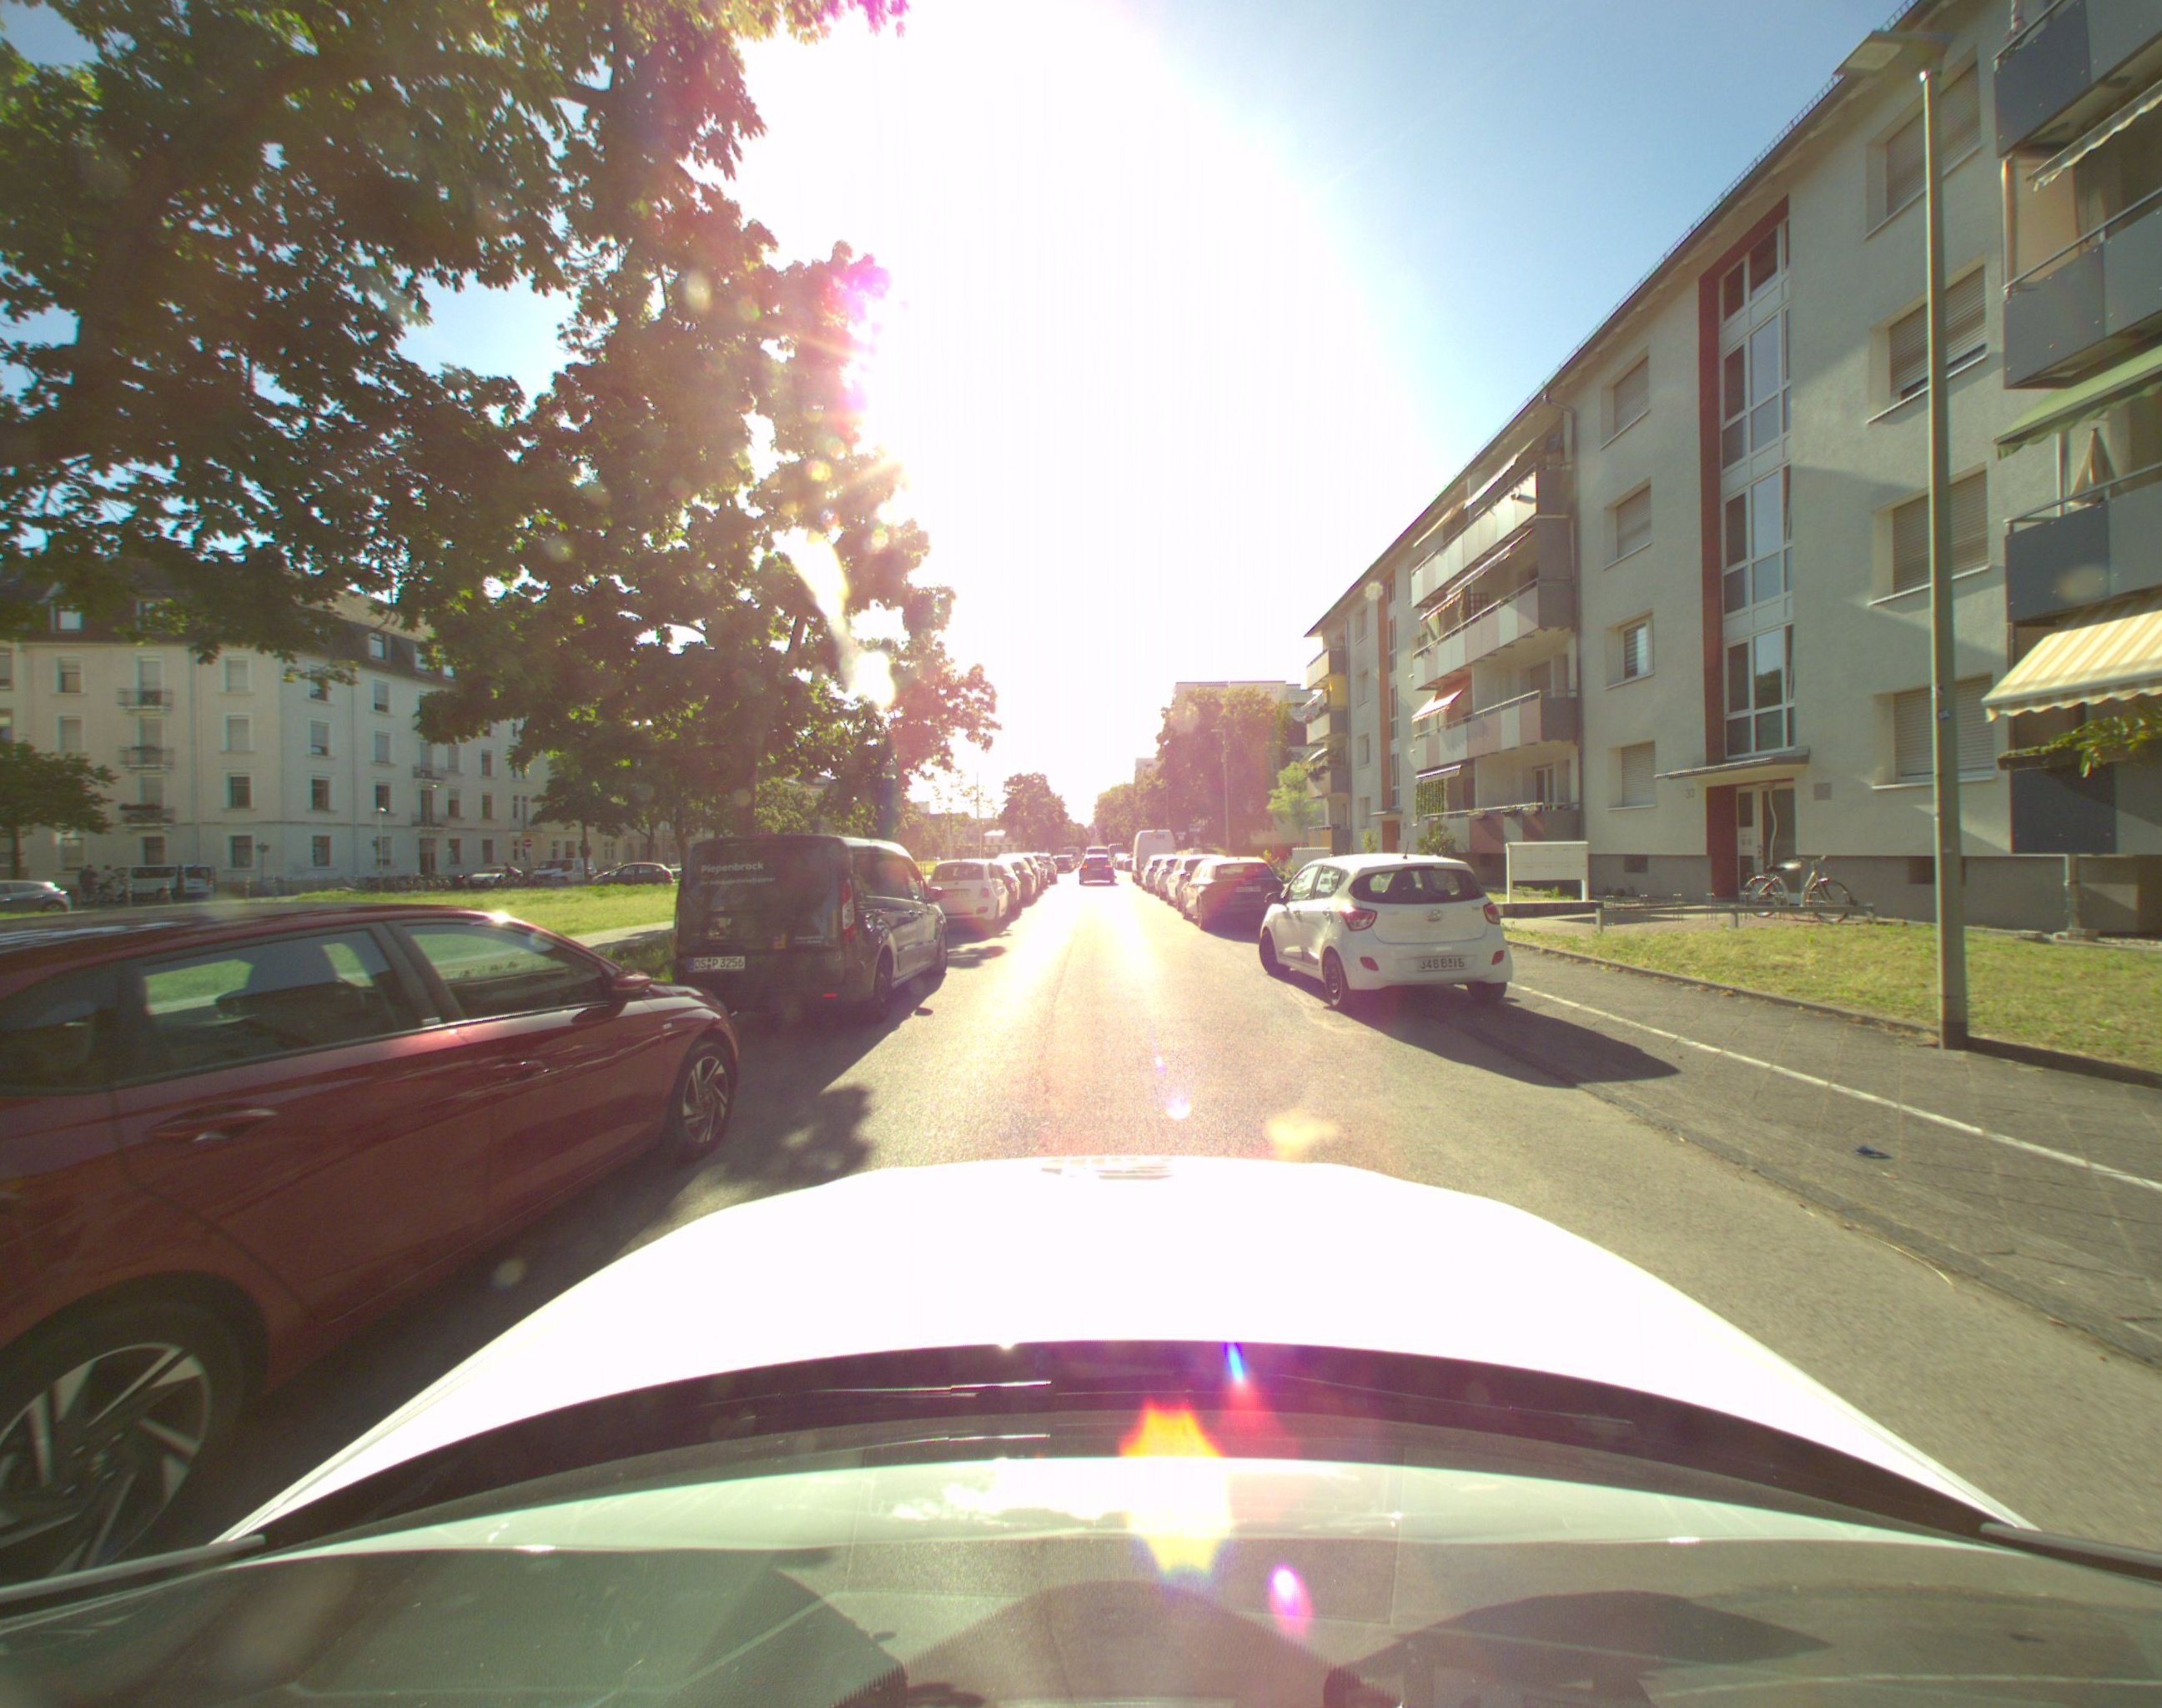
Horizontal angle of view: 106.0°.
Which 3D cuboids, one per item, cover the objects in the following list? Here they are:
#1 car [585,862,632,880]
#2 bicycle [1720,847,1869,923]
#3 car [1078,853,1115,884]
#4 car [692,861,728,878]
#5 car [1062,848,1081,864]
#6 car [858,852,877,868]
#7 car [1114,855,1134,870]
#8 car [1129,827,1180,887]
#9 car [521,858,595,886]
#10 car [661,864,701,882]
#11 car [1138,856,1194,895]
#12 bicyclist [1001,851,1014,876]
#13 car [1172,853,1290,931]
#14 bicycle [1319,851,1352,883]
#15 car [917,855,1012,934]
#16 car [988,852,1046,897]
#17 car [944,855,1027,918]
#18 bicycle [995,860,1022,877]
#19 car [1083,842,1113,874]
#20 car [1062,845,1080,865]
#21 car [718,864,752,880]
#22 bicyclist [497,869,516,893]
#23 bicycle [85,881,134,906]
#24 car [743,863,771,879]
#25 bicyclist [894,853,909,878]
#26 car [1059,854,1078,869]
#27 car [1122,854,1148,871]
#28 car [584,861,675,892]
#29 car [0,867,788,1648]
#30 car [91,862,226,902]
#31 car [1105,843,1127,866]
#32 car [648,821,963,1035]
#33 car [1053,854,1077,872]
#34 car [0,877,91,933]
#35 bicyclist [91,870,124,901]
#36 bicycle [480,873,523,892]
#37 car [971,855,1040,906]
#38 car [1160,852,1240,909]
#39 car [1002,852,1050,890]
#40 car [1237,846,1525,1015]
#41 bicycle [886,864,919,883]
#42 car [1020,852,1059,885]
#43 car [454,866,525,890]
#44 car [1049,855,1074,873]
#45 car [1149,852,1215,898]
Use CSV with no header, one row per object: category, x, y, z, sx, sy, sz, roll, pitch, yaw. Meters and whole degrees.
car,-36.726,1.322,63.371,1.689,1.279,3.524,-1,0,-2
bicycle,11.105,0.446,12.787,0.521,1.071,2.009,-3,0,0
car,0.824,0.699,41.219,1.772,1.531,4.002,0,0,2
car,-36.443,1.540,80.089,1.627,1.549,4.352,-1,0,-2
car,-1.159,0.223,98.288,2.091,1.942,4.127,-1,0,1
car,-36.352,1.009,138.632,1.910,2.744,5.621,-1,0,-2
car,4.034,0.771,77.231,1.773,1.371,4.128,-1,0,2
car,3.627,0.125,41.462,2.134,2.713,6.845,-3,0,2
car,-37.140,1.228,57.994,2.076,1.872,5.095,-1,0,-2
car,-36.682,1.701,74.741,1.689,1.526,4.078,-1,0,-2
car,3.409,0.829,33.489,1.843,1.466,4.200,0,0,-1
bicyclist,-4.865,0.625,54.190,0.787,1.596,0.695,-1,0,-2
car,3.148,0.740,17.996,1.694,1.435,4.470,-3,0,-1
bicycle,9.493,0.495,30.431,0.594,1.176,2.013,-1,-2,0
car,-2.501,0.819,18.263,1.582,1.492,3.684,-3,0,-1
car,-2.510,0.778,32.908,1.813,1.610,4.739,-3,0,1
car,-2.542,0.820,22.707,1.750,1.492,4.666,-3,0,-1
bicycle,-4.824,0.952,54.194,1.756,1.127,0.662,-1,-1,-3
car,1.197,0.272,55.576,1.887,1.991,4.012,-3,0,2
car,-1.226,0.110,104.700,2.090,2.496,4.128,-1,0,2
car,-36.624,1.850,86.265,1.752,1.549,4.525,-1,0,-2
bicyclist,-32.997,1.539,46.797,0.881,1.363,0.617,-1,1,-33
bicycle,-43.817,1.769,36.753,0.527,1.016,1.484,-1,0,-7
car,-36.533,1.855,91.818,1.627,1.686,4.078,-1,0,-2
bicyclist,-12.371,0.800,56.131,0.879,1.690,0.628,-1,0,-19
car,-1.328,0.822,89.818,1.826,1.500,4.128,-1,0,2
car,4.678,0.703,71.272,2.117,1.337,4.508,-4,0,2
car,-25.764,1.274,46.648,4.354,1.576,1.914,-2,0,-24
car,-2.788,0.818,3.368,1.532,1.428,4.089,-1,0,2
car,-49.377,1.460,43.679,4.551,2.013,2.138,-1,0,-3
car,4.171,0.070,98.781,2.157,2.689,5.411,-1,0,-2
car,-2.716,0.656,9.457,1.858,1.785,4.992,-1,-1,1
car,-1.382,0.814,72.089,1.770,1.495,3.876,-3,-1,2
car,-37.304,1.771,27.450,2.152,1.820,4.703,-1,0,-1
bicyclist,-43.819,1.416,36.665,0.531,1.364,0.783,-1,0,-8
bicycle,-33.207,1.647,46.691,1.988,1.016,0.652,-1,0,-32
car,-2.490,0.843,27.877,1.867,1.519,4.469,-3,0,0
car,3.325,0.696,23.427,1.715,1.435,4.153,-2,0,1
car,-2.573,0.755,38.997,1.836,1.638,4.716,-3,0,1
car,3.138,0.703,9.414,1.743,1.499,3.857,-2,0,-2
bicycle,-12.332,1.347,56.135,2.154,1.258,0.710,-1,0,-19
car,-2.268,0.777,45.447,1.749,1.647,4.289,-3,0,2
car,-42.404,1.680,58.502,1.989,1.586,4.447,-1,0,-3
car,-1.564,0.828,67.568,1.741,1.425,3.918,-3,-1,2
car,3.485,0.682,28.803,1.871,1.475,4.141,-1,0,1
